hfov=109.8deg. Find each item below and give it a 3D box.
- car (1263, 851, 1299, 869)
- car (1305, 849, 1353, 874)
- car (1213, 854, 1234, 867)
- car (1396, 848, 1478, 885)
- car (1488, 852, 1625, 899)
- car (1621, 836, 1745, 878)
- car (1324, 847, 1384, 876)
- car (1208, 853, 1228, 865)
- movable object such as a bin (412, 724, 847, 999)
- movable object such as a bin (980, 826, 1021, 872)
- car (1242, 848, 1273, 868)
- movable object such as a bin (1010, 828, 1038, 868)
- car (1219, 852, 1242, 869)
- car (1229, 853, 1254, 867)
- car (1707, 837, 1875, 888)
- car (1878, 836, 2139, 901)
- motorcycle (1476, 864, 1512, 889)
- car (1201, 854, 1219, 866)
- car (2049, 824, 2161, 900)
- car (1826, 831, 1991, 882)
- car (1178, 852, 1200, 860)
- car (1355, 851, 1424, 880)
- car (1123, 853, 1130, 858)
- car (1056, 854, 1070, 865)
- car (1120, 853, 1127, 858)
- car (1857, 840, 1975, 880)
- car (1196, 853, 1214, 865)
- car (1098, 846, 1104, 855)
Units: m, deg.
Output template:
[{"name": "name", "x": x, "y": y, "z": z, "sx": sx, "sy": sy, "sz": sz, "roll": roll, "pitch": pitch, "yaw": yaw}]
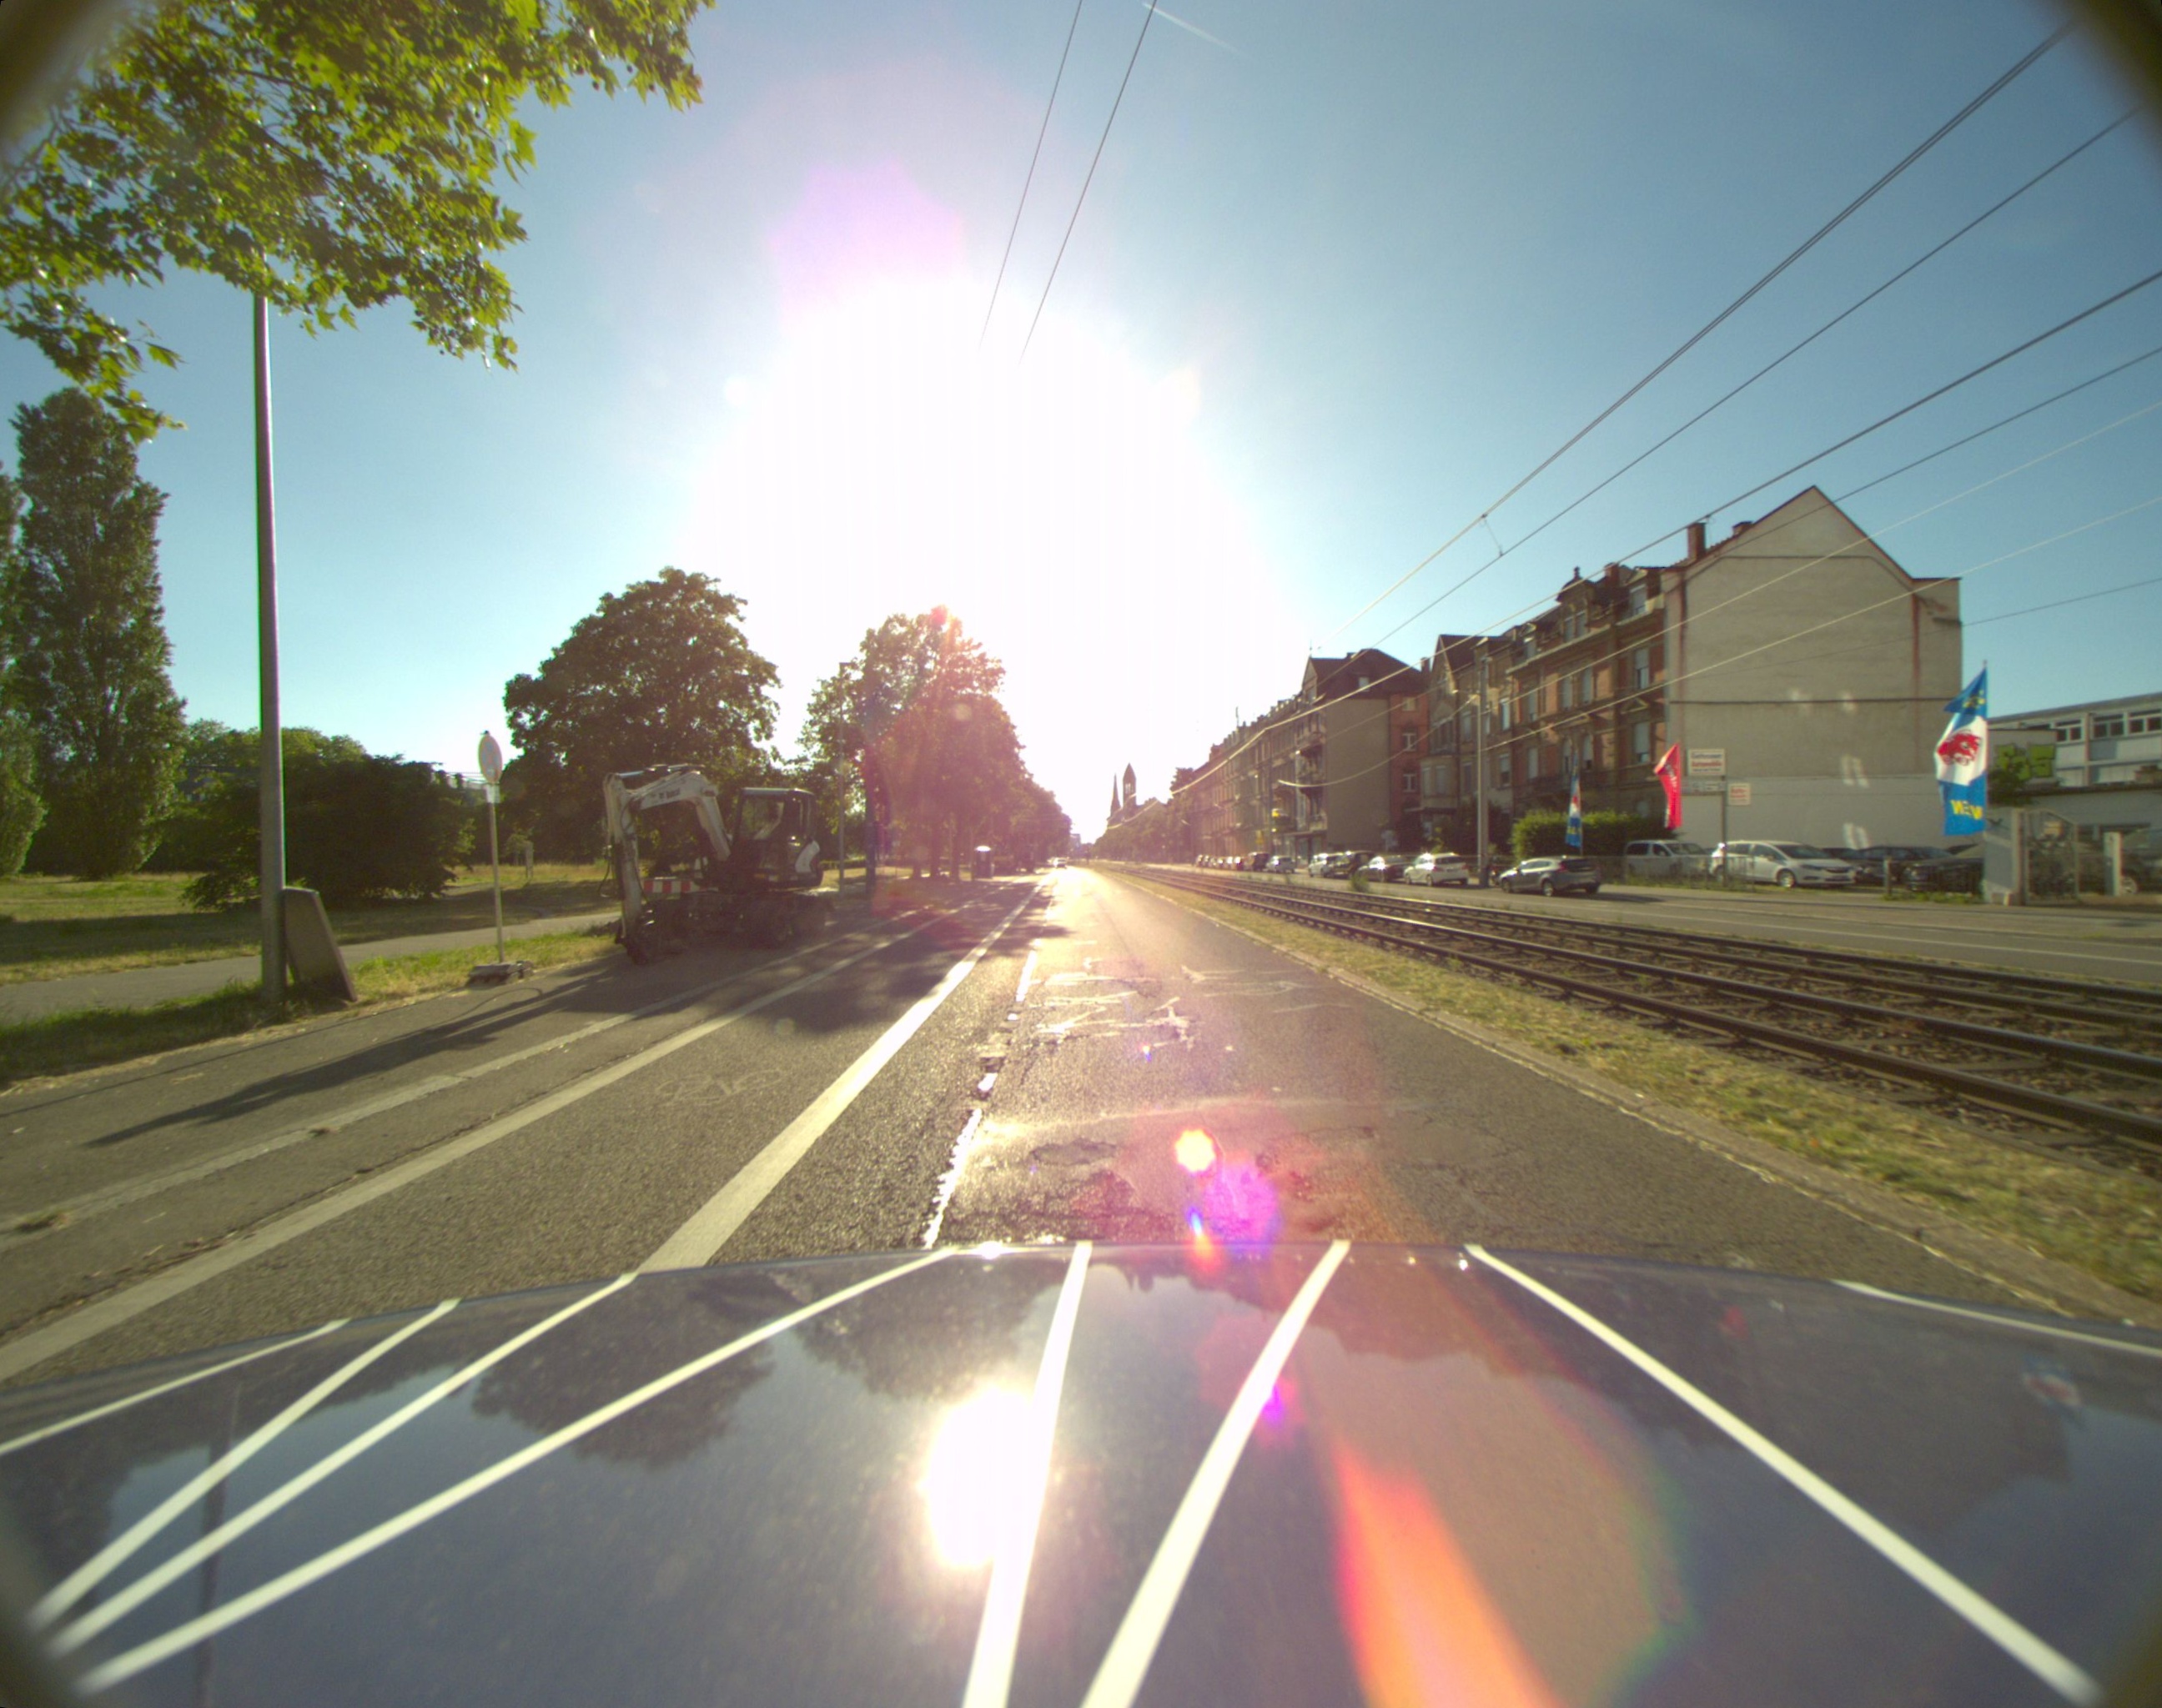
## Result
[{"name": "car", "x": 17.891, "y": 0.481, "z": 68.153, "sx": 1.925, "sy": 1.529, "sz": 4.626, "roll": -2, "pitch": 0, "yaw": -1}, {"name": "car", "x": 17.846, "y": 0.503, "z": 54.875, "sx": 1.925, "sy": 1.674, "sz": 4.626, "roll": -1, "pitch": 1, "yaw": -1}, {"name": "car", "x": 16.995, "y": 0.704, "z": 90.890, "sx": 1.664, "sy": 1.437, "sz": 3.980, "roll": -2, "pitch": 0, "yaw": -1}, {"name": "car", "x": 17.806, "y": 0.572, "z": 38.307, "sx": 1.925, "sy": 1.684, "sz": 4.842, "roll": -2, "pitch": 0, "yaw": 1}, {"name": "car", "x": 17.927, "y": 0.740, "z": 28.984, "sx": 1.926, "sy": 1.452, "sz": 4.841, "roll": -6, "pitch": 0, "yaw": -2}, {"name": "car", "x": 25.985, "y": 0.064, "z": 33.046, "sx": 1.908, "sy": 1.646, "sz": 4.561, "roll": 0, "pitch": 2, "yaw": 3}, {"name": "car", "x": 17.841, "y": 0.482, "z": 49.876, "sx": 1.926, "sy": 1.770, "sz": 4.496, "roll": -2, "pitch": 0, "yaw": -5}, {"name": "car", "x": 17.258, "y": 0.611, "z": 95.633, "sx": 1.664, "sy": 1.437, "sz": 3.980, "roll": -2, "pitch": 0, "yaw": -1}, {"name": "movable object such as a bin", "x": -6.449, "y": 0.099, "z": 12.583, "sx": 2.751, "sy": 3.127, "sz": 7.219, "roll": 2, "pitch": 0, "yaw": 0}, {"name": "movable object such as a bin", "x": -7.523, "y": -0.466, "z": 72.041, "sx": 3.347, "sy": 3.953, "sz": 7.596, "roll": 2, "pitch": 0, "yaw": -3}, {"name": "car", "x": 17.280, "y": 0.368, "z": 74.581, "sx": 1.664, "sy": 1.797, "sz": 4.727, "roll": -2, "pitch": 0, "yaw": -2}, {"name": "movable object such as a bin", "x": -6.812, "y": -0.672, "z": 91.972, "sx": 2.922, "sy": 4.583, "sz": 7.596, "roll": 2, "pitch": 0, "yaw": -3}, {"name": "car", "x": 16.666, "y": 0.679, "z": 84.858, "sx": 1.664, "sy": 1.725, "sz": 3.980, "roll": -2, "pitch": 0, "yaw": -1}, {"name": "car", "x": 16.915, "y": 0.614, "z": 80.177, "sx": 1.664, "sy": 1.437, "sz": 3.980, "roll": -2, "pitch": 0, "yaw": -1}, {"name": "car", "x": 25.472, "y": 0.249, "z": 27.520, "sx": 1.908, "sy": 1.646, "sz": 4.561, "roll": 0, "pitch": 2, "yaw": 3}, {"name": "car", "x": 24.422, "y": 0.414, "z": 20.183, "sx": 4.135, "sy": 1.623, "sz": 1.953, "roll": 0, "pitch": -1, "yaw": 9}, {"name": "motorcycle", "x": 18.287, "y": 0.981, "z": 33.674, "sx": 0.827, "sy": 0.948, "sz": 2.153, "roll": -2, "pitch": 1, "yaw": 13}, {"name": "car", "x": 17.048, "y": 0.820, "z": 100.770, "sx": 1.664, "sy": 1.437, "sz": 3.764, "roll": -2, "pitch": 0, "yaw": -1}, {"name": "car", "x": 29.607, "y": 0.210, "z": 20.475, "sx": 4.078, "sy": 1.990, "sz": 1.990, "roll": -1, "pitch": -1, "yaw": 9}, {"name": "car", "x": 30.761, "y": 0.049, "z": 28.445, "sx": 1.930, "sy": 1.676, "sz": 4.000, "roll": -3, "pitch": 1, "yaw": 3}, {"name": "car", "x": 20.937, "y": 0.377, "z": 147.453, "sx": 3.991, "sy": 1.502, "sz": 1.802, "roll": -2, "pitch": 1, "yaw": 20}, {"name": "car", "x": 17.749, "y": 0.627, "z": 43.993, "sx": 1.925, "sy": 1.551, "sz": 4.841, "roll": -2, "pitch": 0, "yaw": -1}, {"name": "car", "x": 14.188, "y": 0.371, "z": 238.281, "sx": 1.799, "sy": 1.501, "sz": 3.999, "roll": 0, "pitch": 0, "yaw": -3}, {"name": "car", "x": -2.435, "y": 0.746, "z": 103.344, "sx": 1.799, "sy": 1.501, "sz": 3.999, "roll": -3, "pitch": 0, "yaw": -1}, {"name": "car", "x": 13.938, "y": 0.476, "z": 249.569, "sx": 1.799, "sy": 1.501, "sz": 3.999, "roll": 0, "pitch": 0, "yaw": -3}, {"name": "car", "x": 35.846, "y": 0.223, "z": 32.788, "sx": 1.796, "sy": 1.502, "sz": 4.005, "roll": -2, "pitch": 1, "yaw": 21}, {"name": "car", "x": 17.144, "y": 0.652, "z": 105.550, "sx": 1.798, "sy": 1.633, "sz": 4.630, "roll": -2, "pitch": 0, "yaw": 2}, {"name": "car", "x": 6.193, "y": -1.174, "z": 238.111, "sx": 1.799, "sy": 2.766, "sz": 3.999, "roll": 0, "pitch": 0, "yaw": -1}]
